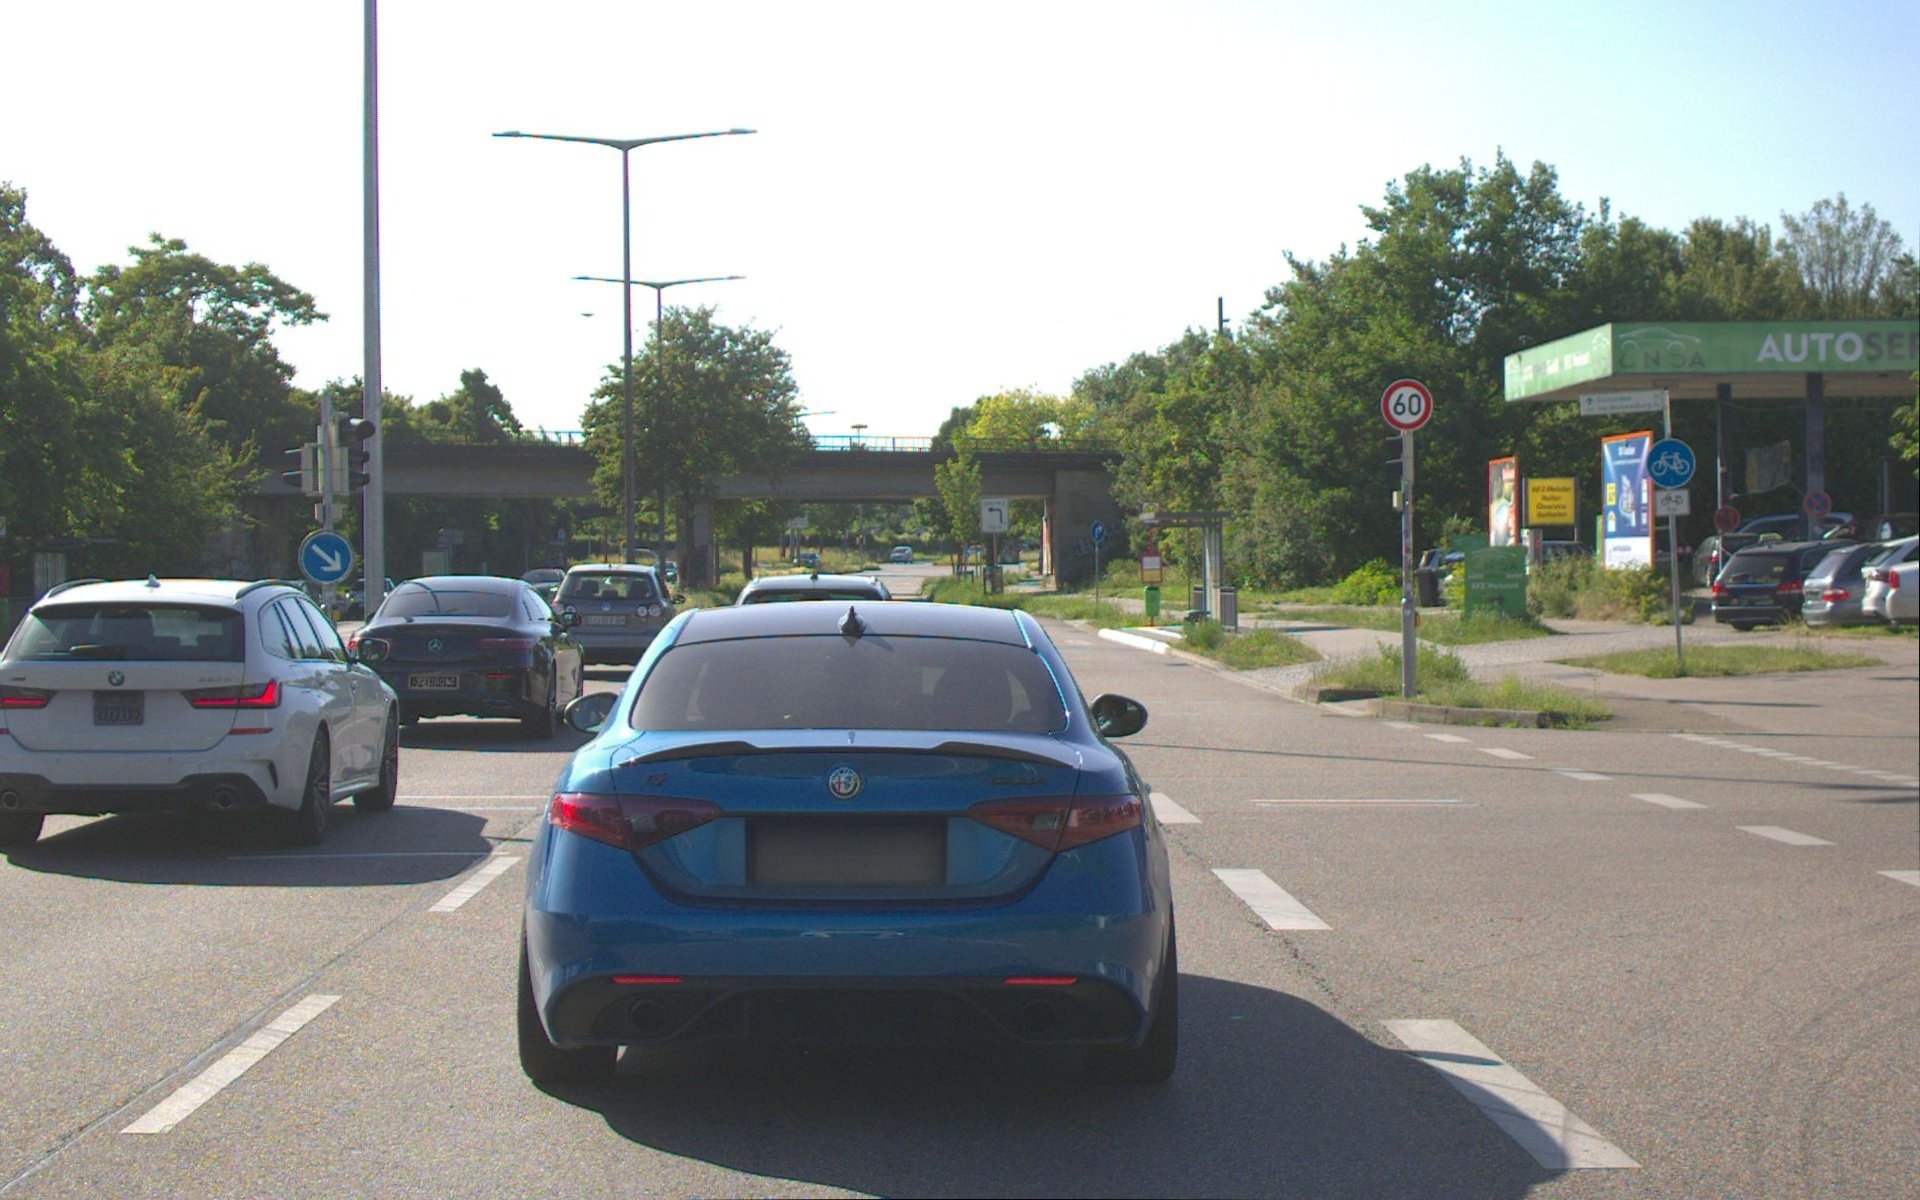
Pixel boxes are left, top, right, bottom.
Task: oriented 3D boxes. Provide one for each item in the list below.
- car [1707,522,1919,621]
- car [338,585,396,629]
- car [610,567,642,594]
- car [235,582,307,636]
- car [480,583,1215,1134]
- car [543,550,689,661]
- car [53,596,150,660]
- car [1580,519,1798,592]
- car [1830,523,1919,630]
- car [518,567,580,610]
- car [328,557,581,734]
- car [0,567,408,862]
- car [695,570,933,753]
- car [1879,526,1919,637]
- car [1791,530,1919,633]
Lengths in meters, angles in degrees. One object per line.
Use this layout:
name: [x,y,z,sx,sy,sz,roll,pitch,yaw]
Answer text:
car: [14.461,-0.490,55.182,4.489,1.449,1.858,-2,0,1]
car: [-22.464,0.267,130.355,1.609,1.641,3.463,1,0,-1]
car: [-19.795,-1.146,203.904,1.571,1.612,4.000,1,0,-1]
car: [-21.752,0.281,108.676,1.609,1.641,3.463,1,0,-1]
car: [-0.366,0.676,11.167,1.895,1.413,4.403,1,0,-2]
car: [-4.862,0.068,49.042,1.759,1.485,4.403,1,0,-2]
car: [-21.553,0.686,86.426,1.615,1.554,3.358,1,0,-1]
car: [16.589,-1.009,78.337,4.551,1.485,1.765,-2,0,1]
car: [14.784,-0.403,48.535,4.489,1.449,1.858,-2,0,1]
car: [-15.152,-0.428,126.875,1.759,1.485,4.478,-2,0,-1]
car: [-4.578,0.388,31.698,1.796,1.485,4.476,1,0,-2]
car: [-4.349,0.581,19.715,1.785,1.485,4.403,1,0,-2]
car: [-1.219,0.481,29.160,1.850,1.413,4.403,1,0,-2]
car: [14.710,-0.333,45.627,4.489,1.449,1.858,-2,0,1]
car: [14.889,-0.331,51.296,4.489,1.449,1.858,-2,0,1]
